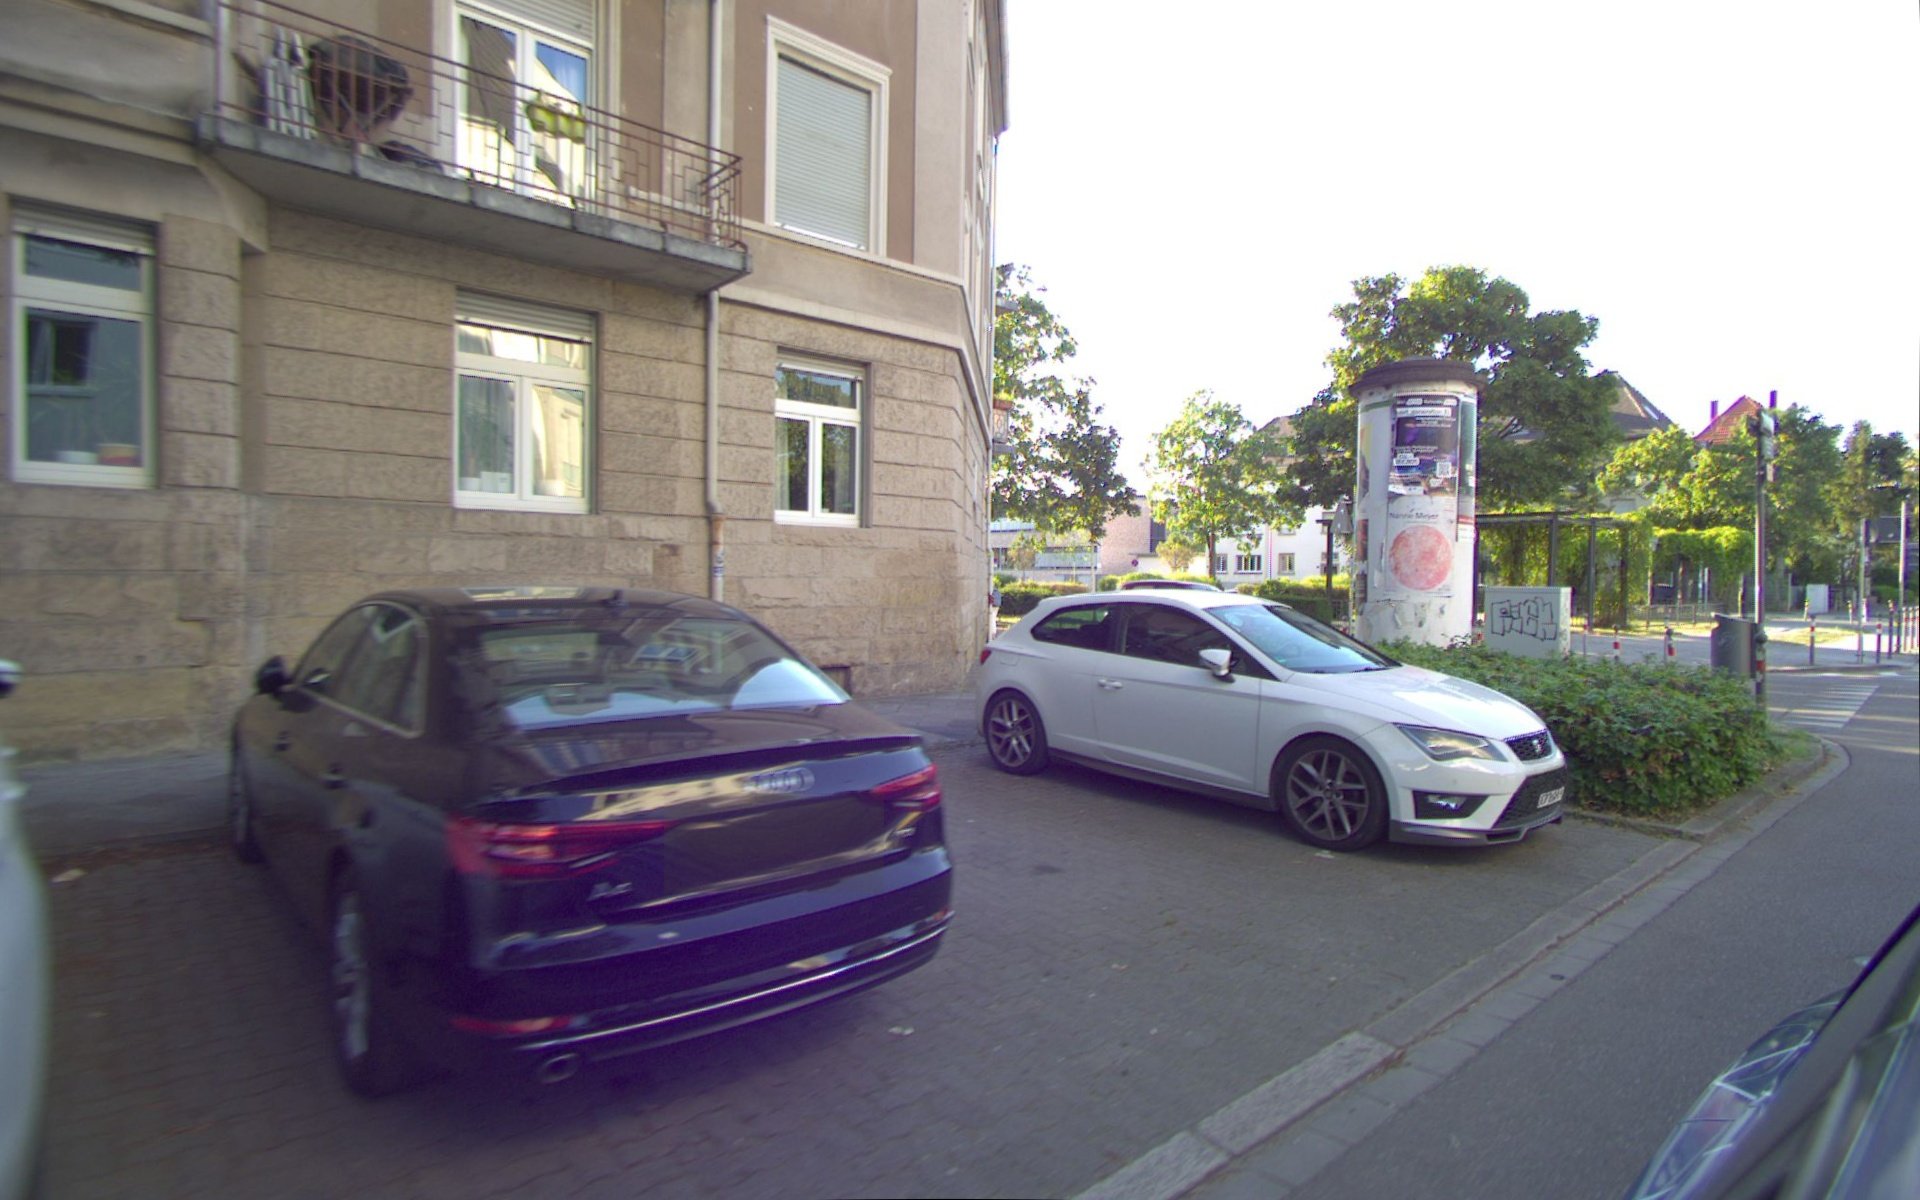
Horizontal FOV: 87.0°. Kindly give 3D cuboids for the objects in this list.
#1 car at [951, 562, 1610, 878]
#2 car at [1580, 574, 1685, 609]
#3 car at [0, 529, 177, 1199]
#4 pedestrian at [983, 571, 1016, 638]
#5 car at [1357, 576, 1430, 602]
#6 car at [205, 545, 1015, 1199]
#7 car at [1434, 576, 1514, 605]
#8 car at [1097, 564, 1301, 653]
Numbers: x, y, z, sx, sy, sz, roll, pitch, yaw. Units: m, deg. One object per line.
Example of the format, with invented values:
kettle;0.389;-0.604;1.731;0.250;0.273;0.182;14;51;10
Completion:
car;1.960;0.529;7.125;1.830;1.524;4.055;-1;2;-42
car;34.628;-0.446;52.161;1.792;1.662;4.207;3;-1;-43
car;-3.466;0.558;2.377;4.478;1.544;1.923;4;2;44
pedestrian;0.940;0.114;24.360;0.728;1.565;0.821;2;-2;0
car;26.641;-0.708;62.257;1.705;1.537;3.755;-1;2;-41
car;-1.829;0.552;4.109;1.644;1.465;4.150;-1;3;-42
car;29.674;-0.591;58.492;1.739;1.544;3.770;-2;3;-38
car;5.215;0.140;22.468;1.781;1.763;4.080;2;0;-43
